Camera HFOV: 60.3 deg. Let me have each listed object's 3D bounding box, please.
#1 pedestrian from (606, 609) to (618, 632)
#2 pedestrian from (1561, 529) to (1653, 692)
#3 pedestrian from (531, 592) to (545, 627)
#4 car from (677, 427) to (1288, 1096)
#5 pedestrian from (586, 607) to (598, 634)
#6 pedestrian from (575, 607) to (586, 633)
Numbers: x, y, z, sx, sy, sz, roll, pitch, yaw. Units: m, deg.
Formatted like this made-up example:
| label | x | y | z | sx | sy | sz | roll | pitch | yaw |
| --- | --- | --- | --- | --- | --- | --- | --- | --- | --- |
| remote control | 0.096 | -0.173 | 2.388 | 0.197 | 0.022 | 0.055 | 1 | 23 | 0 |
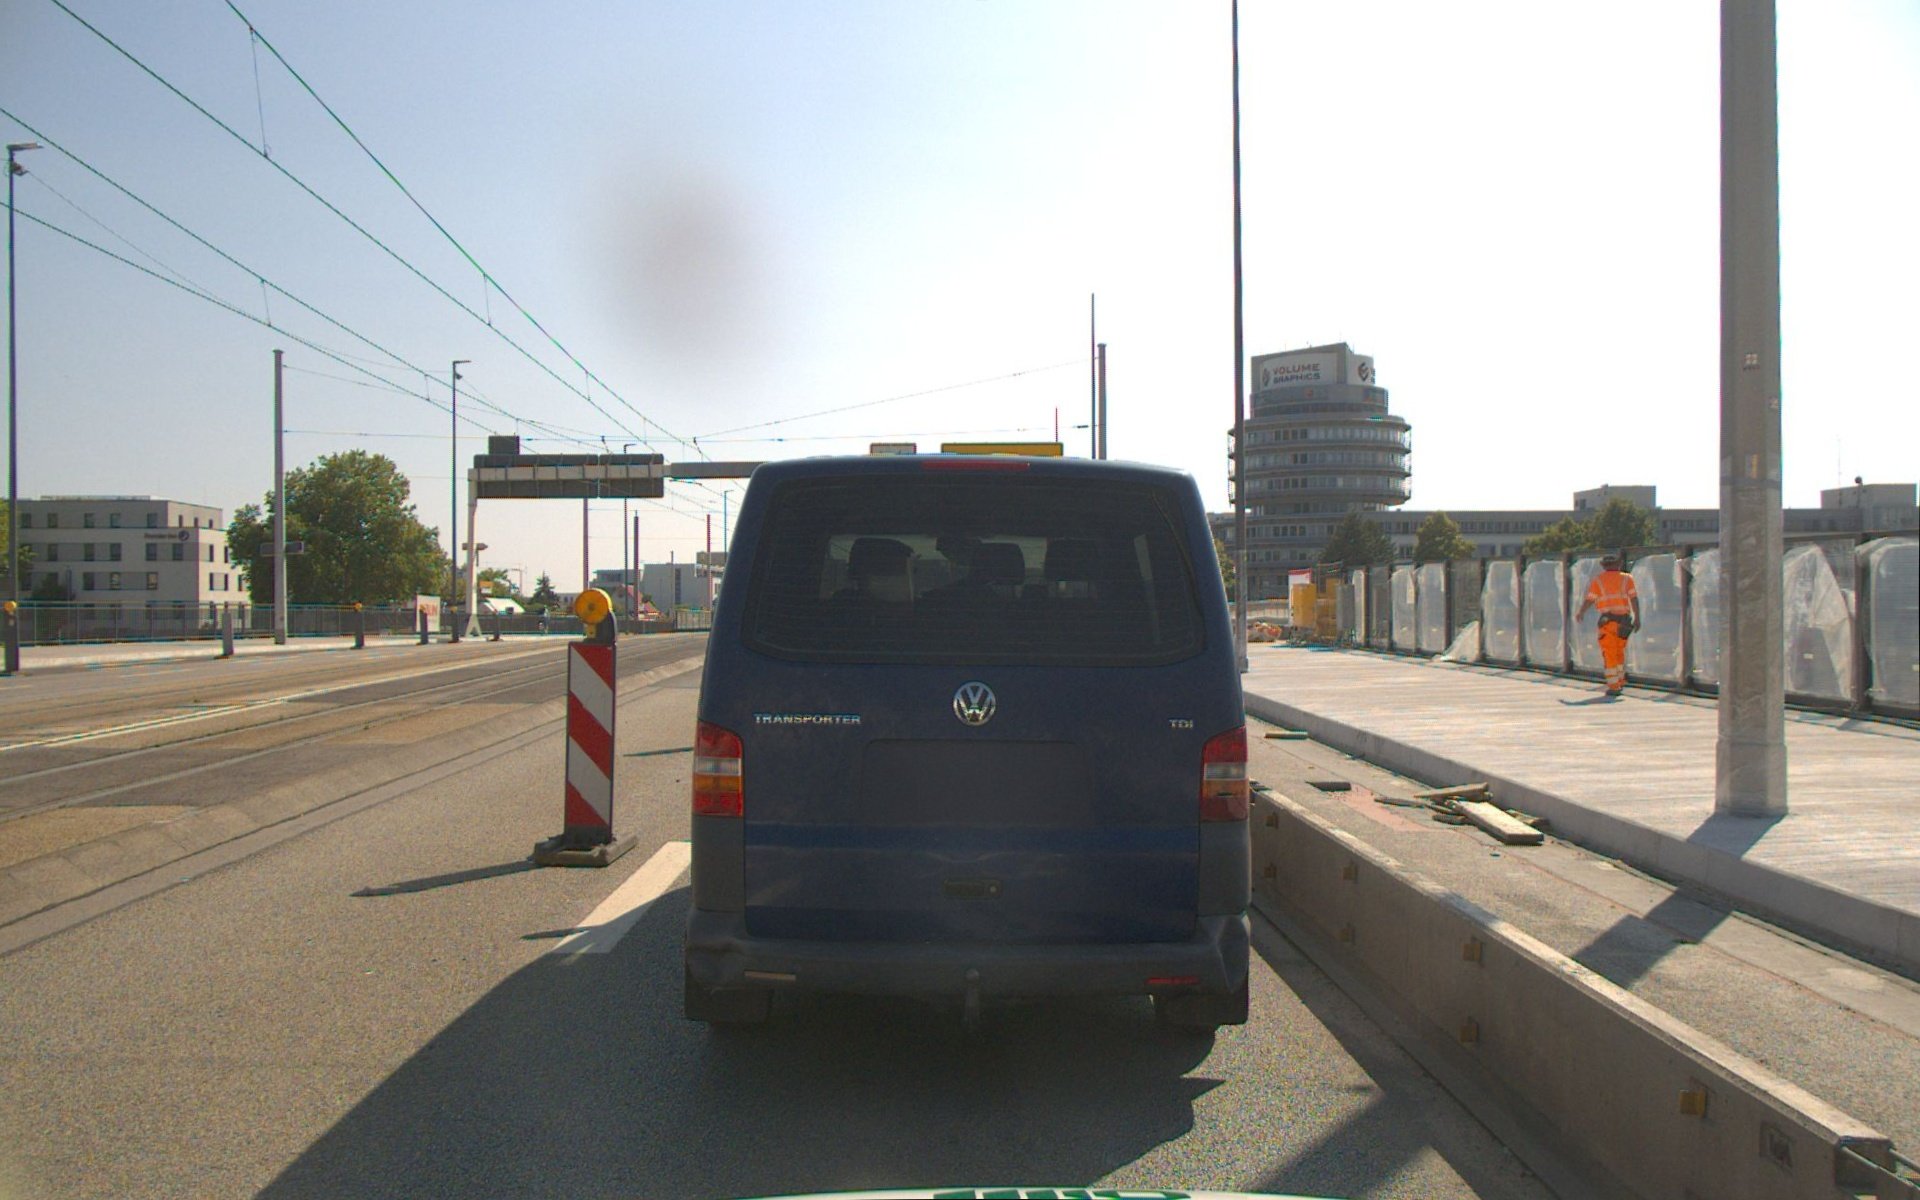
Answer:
| label | x | y | z | sx | sy | sz | roll | pitch | yaw |
| --- | --- | --- | --- | --- | --- | --- | --- | --- | --- |
| pedestrian | -24.385 | 1.438 | 115.881 | 0.621 | 1.626 | 0.752 | 0 | 0 | -1 |
| pedestrian | 8.031 | 0.130 | 20.563 | 0.766 | 1.969 | 0.799 | -2 | -1 | -1 |
| pedestrian | -23.669 | 0.524 | 92.766 | 0.621 | 1.926 | 0.752 | 0 | 0 | -1 |
| car | 0.033 | 0.454 | 6.841 | 1.779 | 1.939 | 4.053 | 0 | 0 | -1 |
| pedestrian | -25.108 | 1.406 | 112.881 | 0.621 | 1.805 | 0.752 | 0 | 0 | -1 |
| pedestrian | -25.793 | 1.366 | 112.418 | 0.621 | 1.783 | 0.752 | 1 | 0 | -2 |
